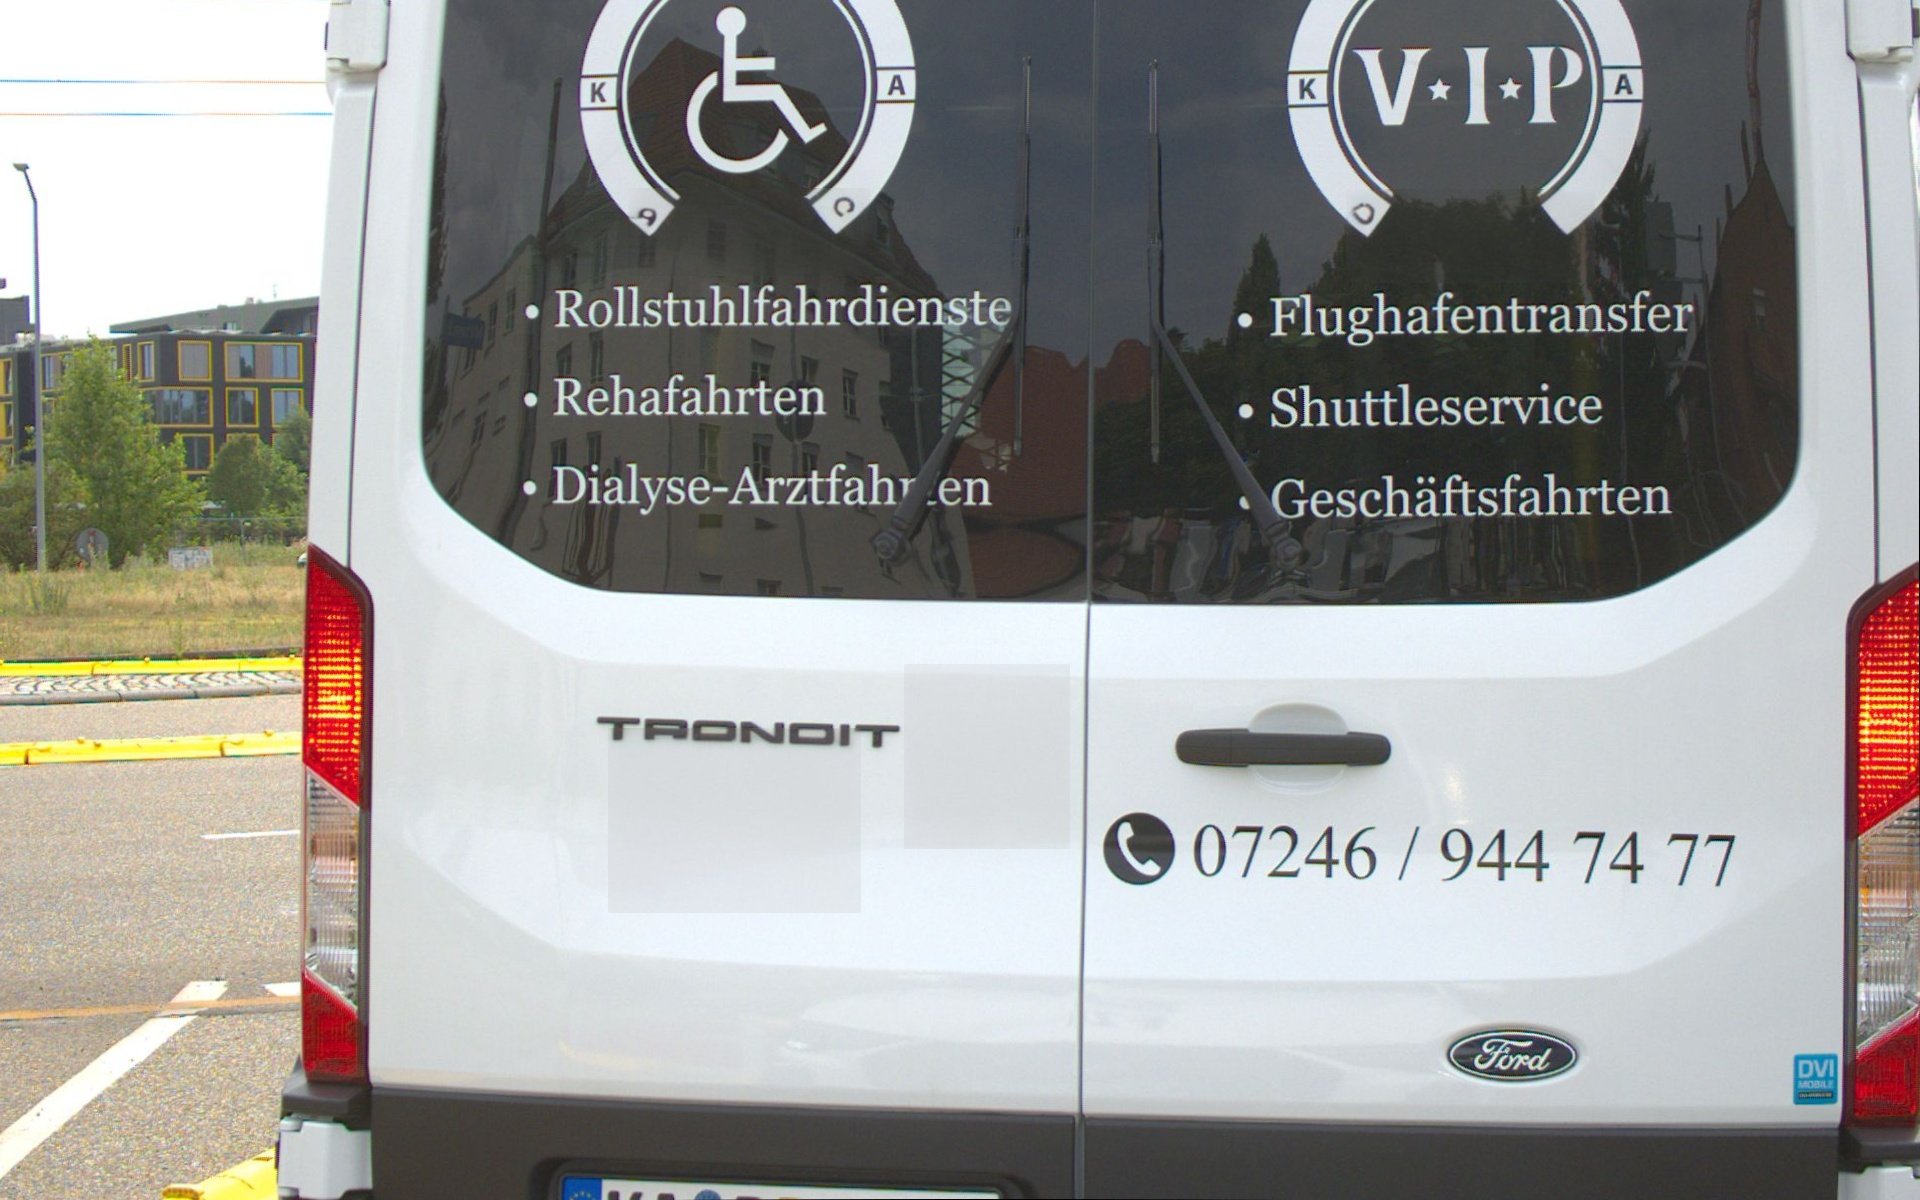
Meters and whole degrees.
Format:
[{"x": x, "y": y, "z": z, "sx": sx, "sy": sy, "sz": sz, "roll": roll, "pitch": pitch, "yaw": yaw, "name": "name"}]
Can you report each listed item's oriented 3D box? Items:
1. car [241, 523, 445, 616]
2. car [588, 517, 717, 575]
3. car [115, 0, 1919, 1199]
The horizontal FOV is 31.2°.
[{"x": -13.704, "y": -0.661, "z": 76.424, "sx": 3.987, "sy": 2.007, "sz": 2.000, "roll": 0, "pitch": 0, "yaw": -35, "name": "car"}, {"x": -8.070, "y": -1.426, "z": 90.616, "sx": 1.829, "sy": 1.458, "sz": 3.996, "roll": 0, "pitch": 1, "yaw": 20, "name": "car"}, {"x": 0.462, "y": -0.029, "z": 6.396, "sx": 2.127, "sy": 2.688, "sz": 5.631, "roll": 0, "pitch": 1, "yaw": 6, "name": "car"}]
